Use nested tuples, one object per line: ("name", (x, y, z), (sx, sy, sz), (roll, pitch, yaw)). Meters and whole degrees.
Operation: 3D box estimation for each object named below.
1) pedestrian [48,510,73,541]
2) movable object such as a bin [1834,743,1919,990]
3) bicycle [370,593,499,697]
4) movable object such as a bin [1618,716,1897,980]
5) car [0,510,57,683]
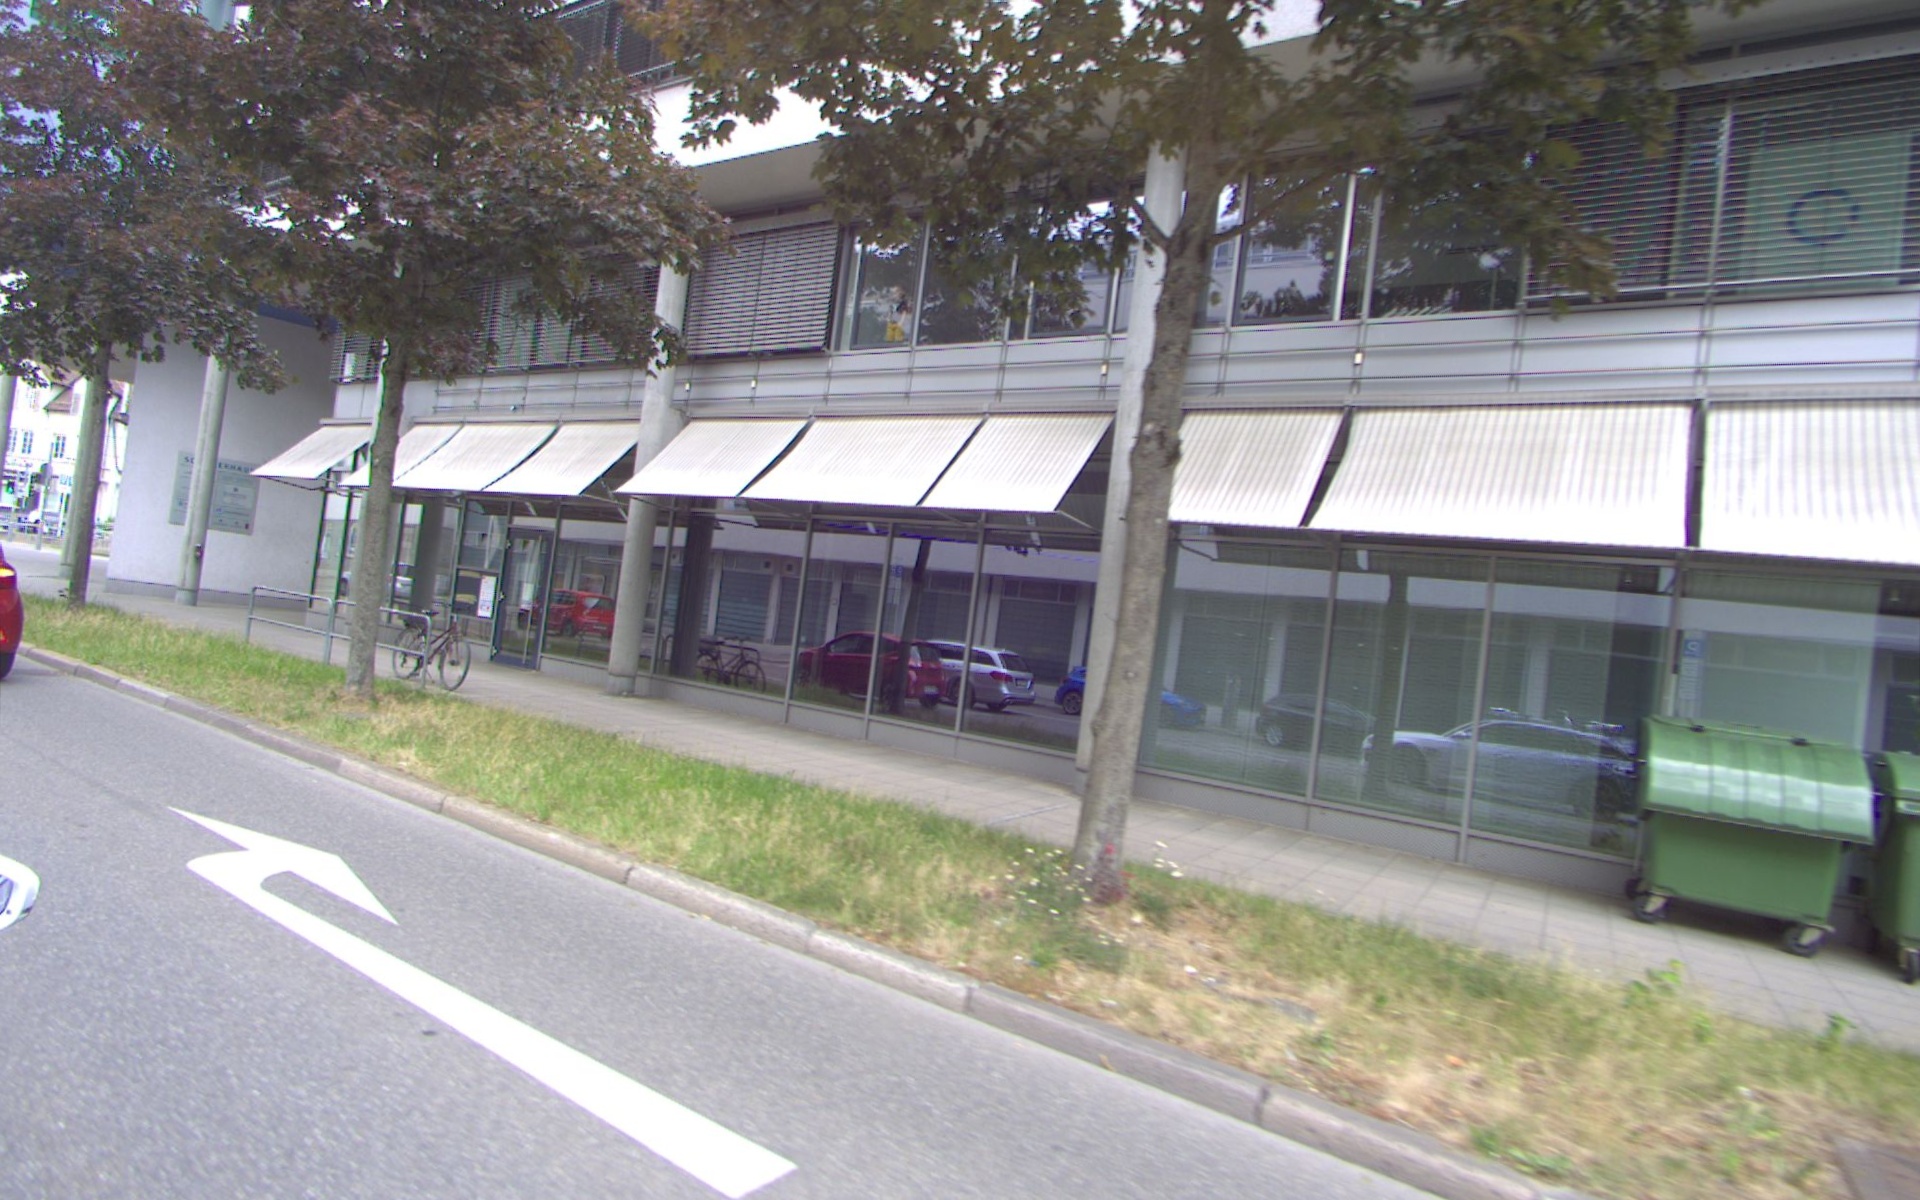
("pedestrian", (-55.058, -4.564, 61.588), (0.780, 1.737, 0.646), (10, -2, -26))
("movable object such as a bin", (6.802, 1.810, 6.594), (1.311, 1.483, 1.123), (6, 0, 31))
("bicycle", (-6.809, 0.559, 12.993), (1.993, 1.098, 0.362), (6, -2, 31))
("movable object such as a bin", (5.663, 1.690, 7.286), (1.311, 1.483, 1.099), (6, 0, 31))
("car", (-10.220, -0.297, 9.236), (3.934, 1.467, 1.703), (6, -4, 32))
